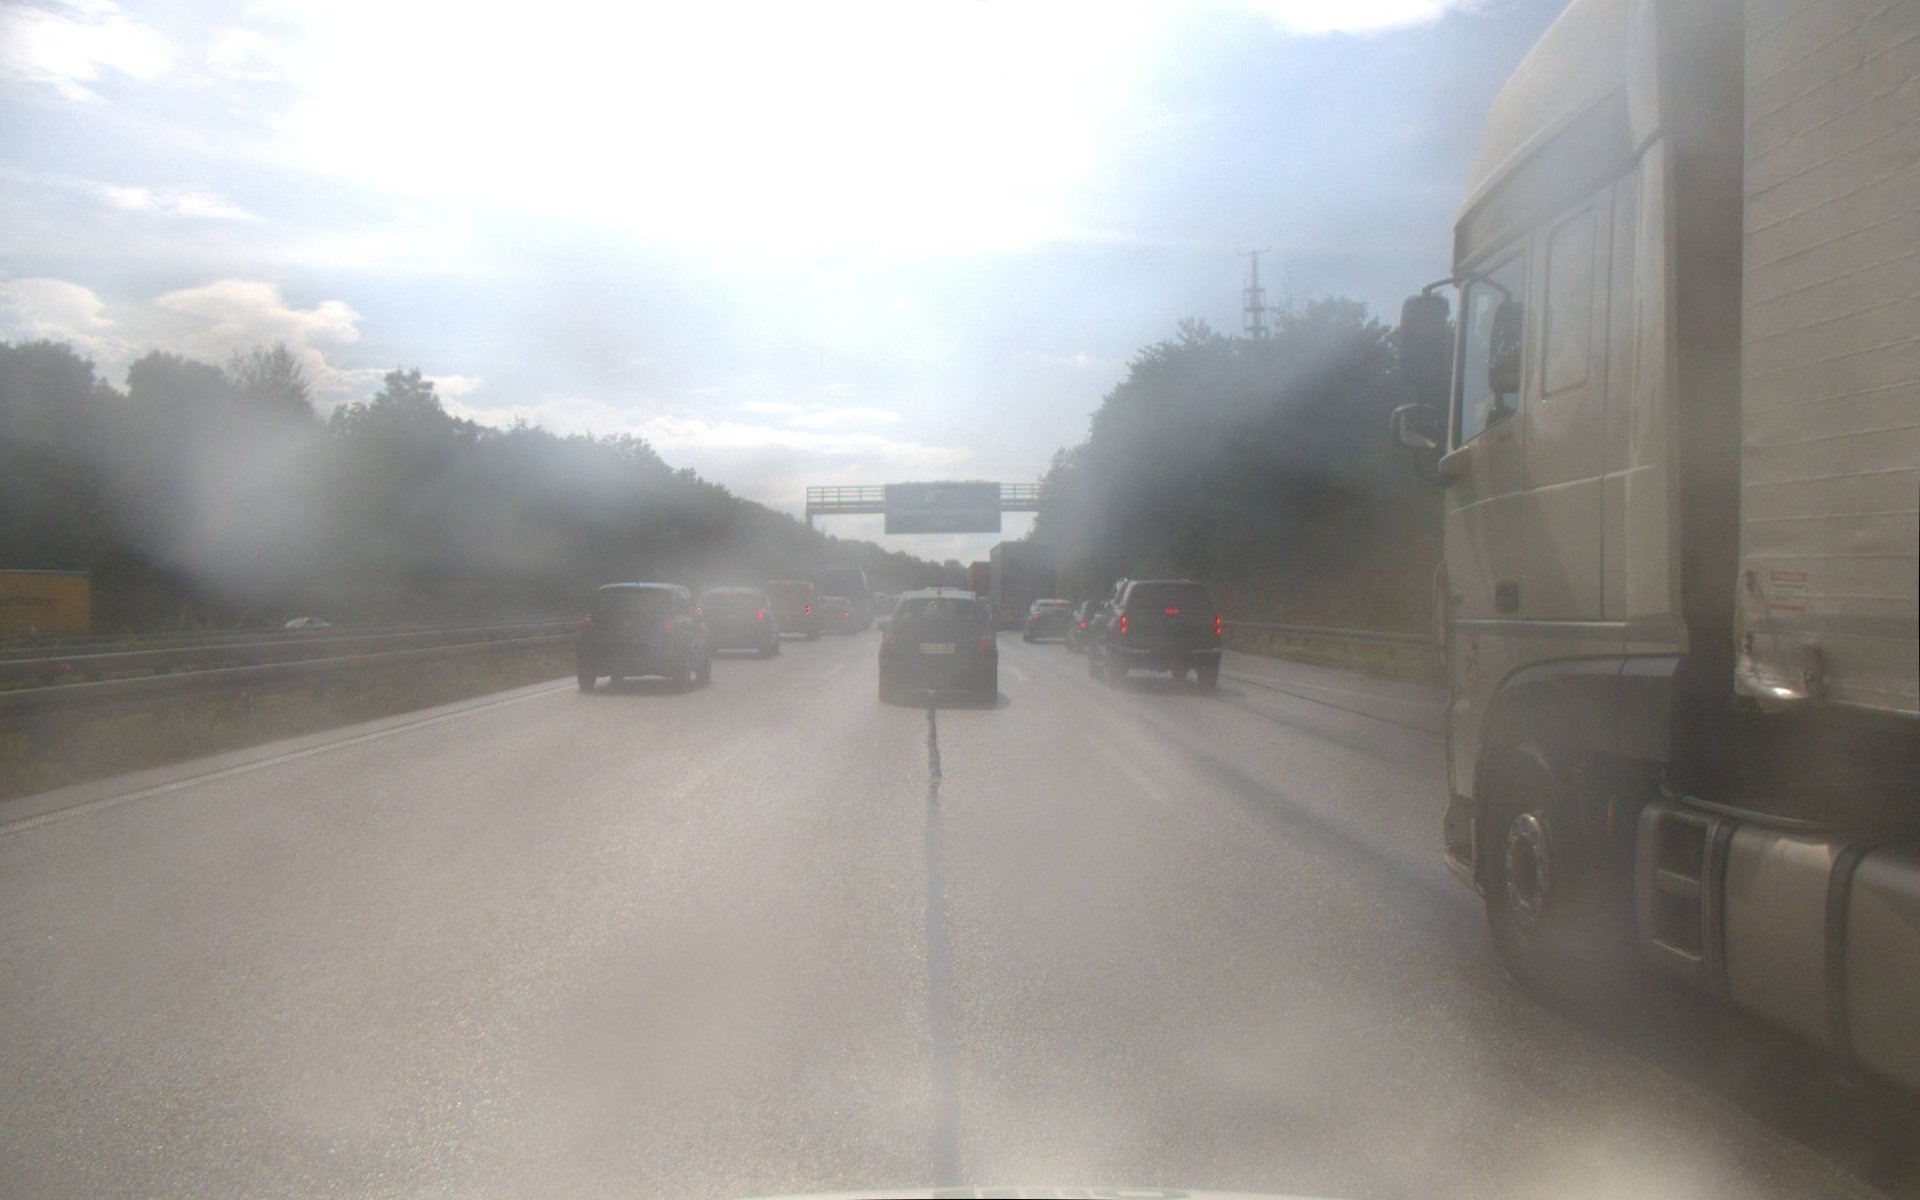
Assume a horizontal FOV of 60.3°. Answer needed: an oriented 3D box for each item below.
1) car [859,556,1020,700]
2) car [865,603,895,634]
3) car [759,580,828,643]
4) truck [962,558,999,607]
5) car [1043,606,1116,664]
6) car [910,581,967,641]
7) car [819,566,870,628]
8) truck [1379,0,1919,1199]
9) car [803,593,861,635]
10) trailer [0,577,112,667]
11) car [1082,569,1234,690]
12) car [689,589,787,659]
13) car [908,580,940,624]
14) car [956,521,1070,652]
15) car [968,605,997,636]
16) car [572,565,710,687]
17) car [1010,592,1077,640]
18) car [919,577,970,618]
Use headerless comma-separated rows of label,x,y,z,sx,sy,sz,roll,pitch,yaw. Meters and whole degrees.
car,-0.383,0.405,25.512,2.229,1.989,4.818,1,0,-3
car,-5.821,1.349,120.851,1.953,2.153,4.888,1,0,-1
car,-5.728,0.397,57.333,1.938,2.090,4.755,1,0,-1
truck,1.597,-1.340,130.699,2.719,3.695,5.916,1,0,-1
car,3.300,0.949,46.334,1.559,1.542,3.973,1,0,-3
car,-0.728,0.357,53.581,1.659,1.836,3.973,1,0,-3
car,-5.184,-0.111,74.607,1.953,2.661,5.258,1,0,-1
truck,3.736,-0.482,4.731,3.218,3.959,6.393,1,0,-2
car,-4.994,0.550,65.024,1.953,1.592,4.755,1,0,-1
trailer,-46.308,1.008,79.019,3.707,4.189,11.735,1,0,12
car,3.450,0.505,29.892,1.902,1.952,5.650,1,0,-2
car,-5.505,0.585,41.472,1.870,1.665,4.616,0,0,-1
car,-2.328,0.161,108.333,1.953,2.794,5.258,1,0,-1
car,2.401,-0.564,83.842,4.316,5.932,16.806,1,0,-3
car,1.617,1.425,118.330,1.953,2.153,4.888,1,0,-1
car,-5.134,0.405,27.071,1.659,1.836,3.973,1,0,-3
car,2.776,0.537,55.713,1.827,1.542,3.973,1,0,-3
car,-0.640,-0.085,65.626,1.827,1.542,3.973,1,0,-3
